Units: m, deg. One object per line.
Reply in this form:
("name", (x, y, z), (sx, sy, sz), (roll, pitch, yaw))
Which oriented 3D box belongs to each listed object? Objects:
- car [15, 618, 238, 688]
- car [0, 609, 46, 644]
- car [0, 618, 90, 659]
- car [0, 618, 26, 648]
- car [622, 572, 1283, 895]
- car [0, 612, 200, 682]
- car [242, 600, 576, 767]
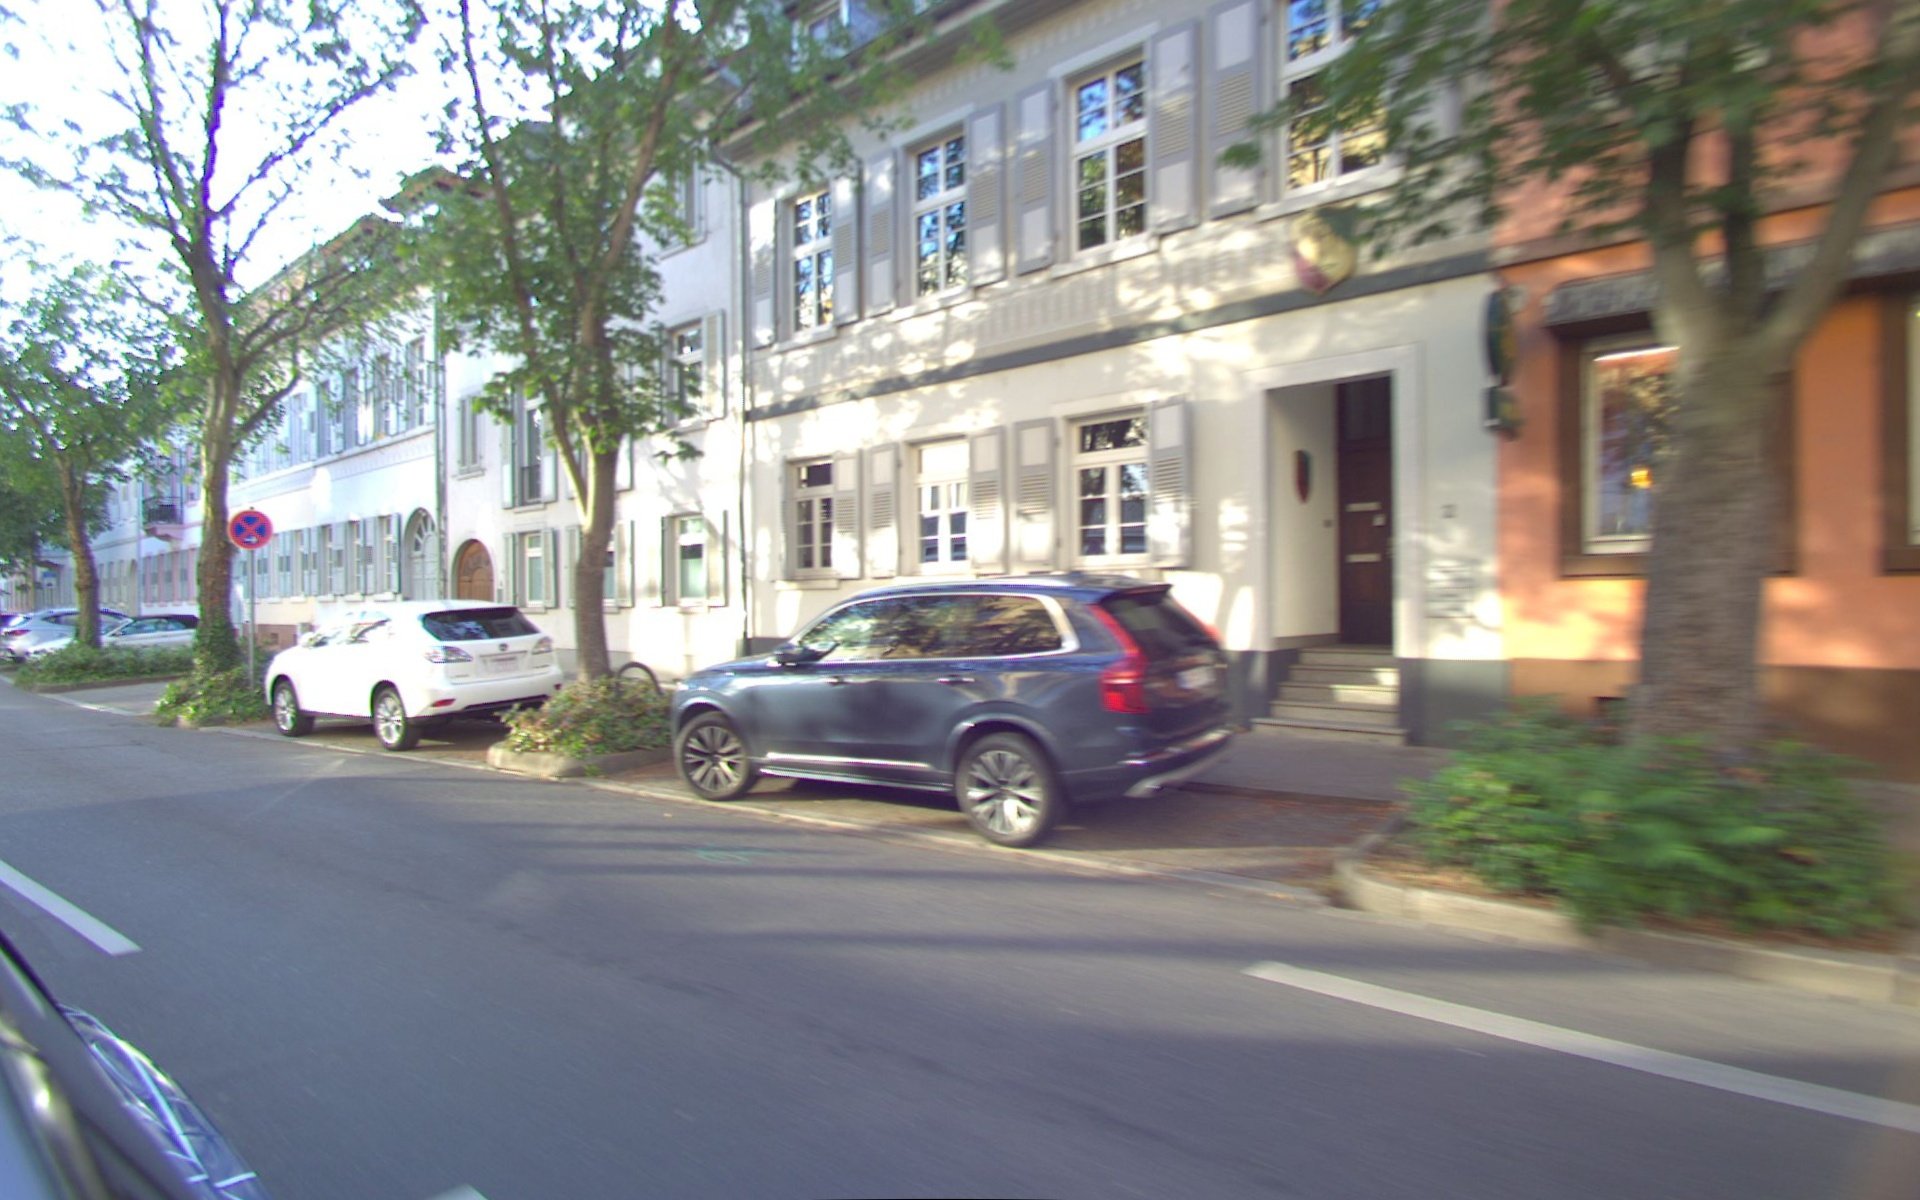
("car", (-20.928, 1.261, 25.532), (1.801, 1.557, 4.172), (-1, -1, 44))
("car", (-47.142, 1.266, 48.923), (1.798, 1.677, 4.178), (-1, -1, 38))
("car", (-36.676, 1.475, 39.285), (1.798, 1.519, 4.178), (-1, -1, 38))
("car", (-50.784, 1.701, 51.814), (1.757, 1.529, 4.178), (-1, -1, 38))
("car", (-0.281, 0.774, 7.954), (5.037, 1.772, 1.813), (-1, 3, 35))
("car", (-23.173, 1.188, 27.116), (1.798, 1.702, 4.178), (-1, -1, 38))
("car", (-7.142, 0.928, 12.953), (4.646, 1.680, 1.813), (-1, 3, 35))
